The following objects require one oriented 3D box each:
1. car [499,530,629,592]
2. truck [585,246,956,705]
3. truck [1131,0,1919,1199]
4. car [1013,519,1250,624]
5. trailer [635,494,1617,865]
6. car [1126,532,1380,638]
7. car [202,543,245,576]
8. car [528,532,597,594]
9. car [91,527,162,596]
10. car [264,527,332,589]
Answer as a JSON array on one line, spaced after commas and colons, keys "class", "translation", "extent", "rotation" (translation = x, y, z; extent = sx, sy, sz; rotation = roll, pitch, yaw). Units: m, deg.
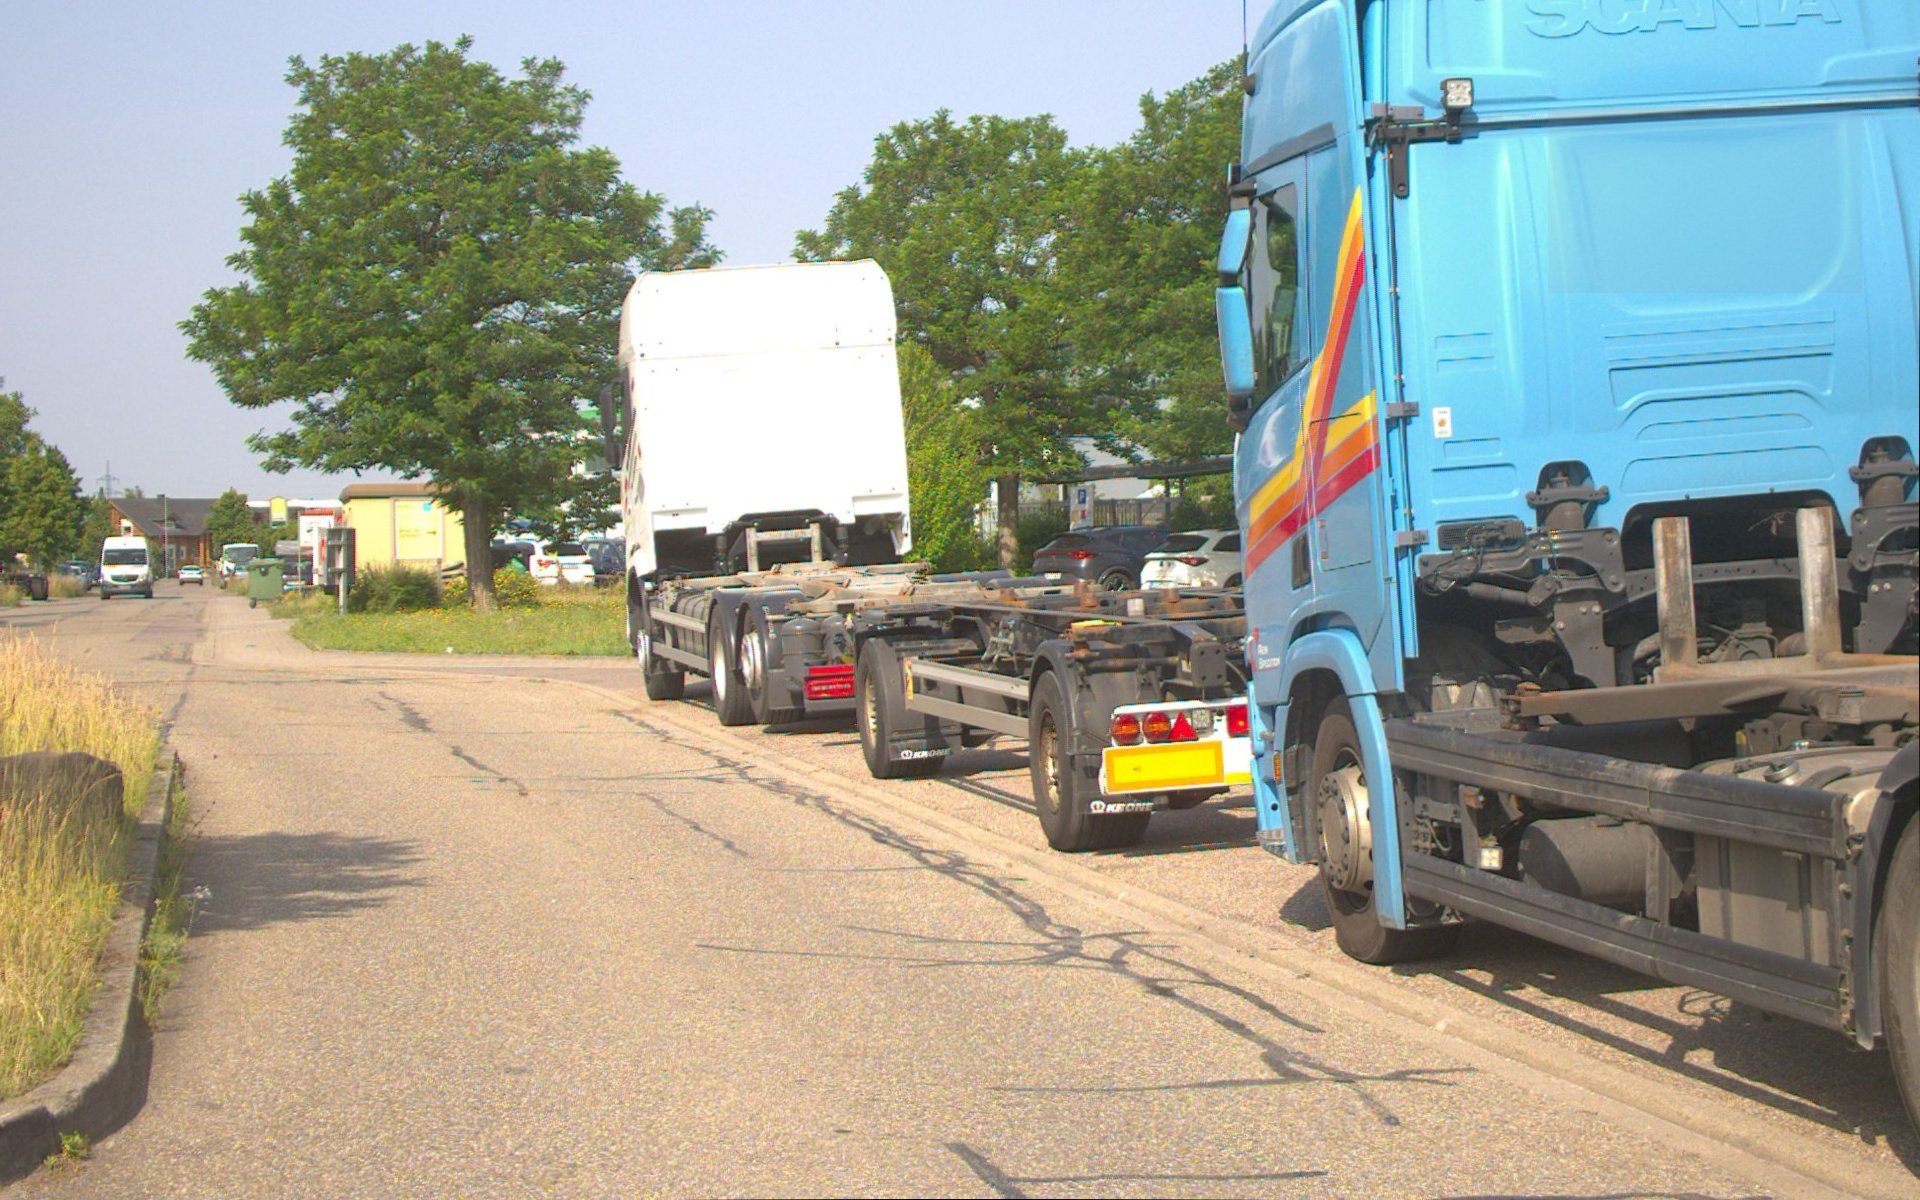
[{"class": "car", "translation": [-9.000, -0.864, 77.962], "extent": [1.668, 1.325, 3.664], "rotation": [1, -1, -28]}, {"class": "truck", "translation": [-1.891, -1.148, 32.702], "extent": [2.745, 3.968, 4.001], "rotation": [-3, 1, -12]}, {"class": "truck", "translation": [3.187, -0.472, 9.293], "extent": [2.887, 3.523, 9.757], "rotation": [-4, 1, -11]}, {"class": "car", "translation": [3.094, -0.493, 61.554], "extent": [3.989, 1.761, 1.999], "rotation": [2, -1, -43]}, {"class": "trailer", "translation": [0.065, 0.270, 23.864], "extent": [2.745, 1.568, 16.176], "rotation": [-3, 1, -12]}, {"class": "car", "translation": [5.032, -0.243, 58.886], "extent": [4.074, 1.695, 1.765], "rotation": [1, -1, -33]}, {"class": "car", "translation": [-42.866, -2.350, 199.962], "extent": [1.770, 1.809, 4.001], "rotation": [1, -1, -22]}, {"class": "car", "translation": [-11.008, -1.005, 95.034], "extent": [1.717, 1.612, 4.001], "rotation": [1, -1, -9]}, {"class": "car", "translation": [-34.263, -1.554, 141.182], "extent": [2.214, 2.677, 6.855], "rotation": [1, -1, -18]}, {"class": "car", "translation": [-19.659, -1.221, 102.030], "extent": [1.791, 1.744, 4.001], "rotation": [1, -1, -13]}]
